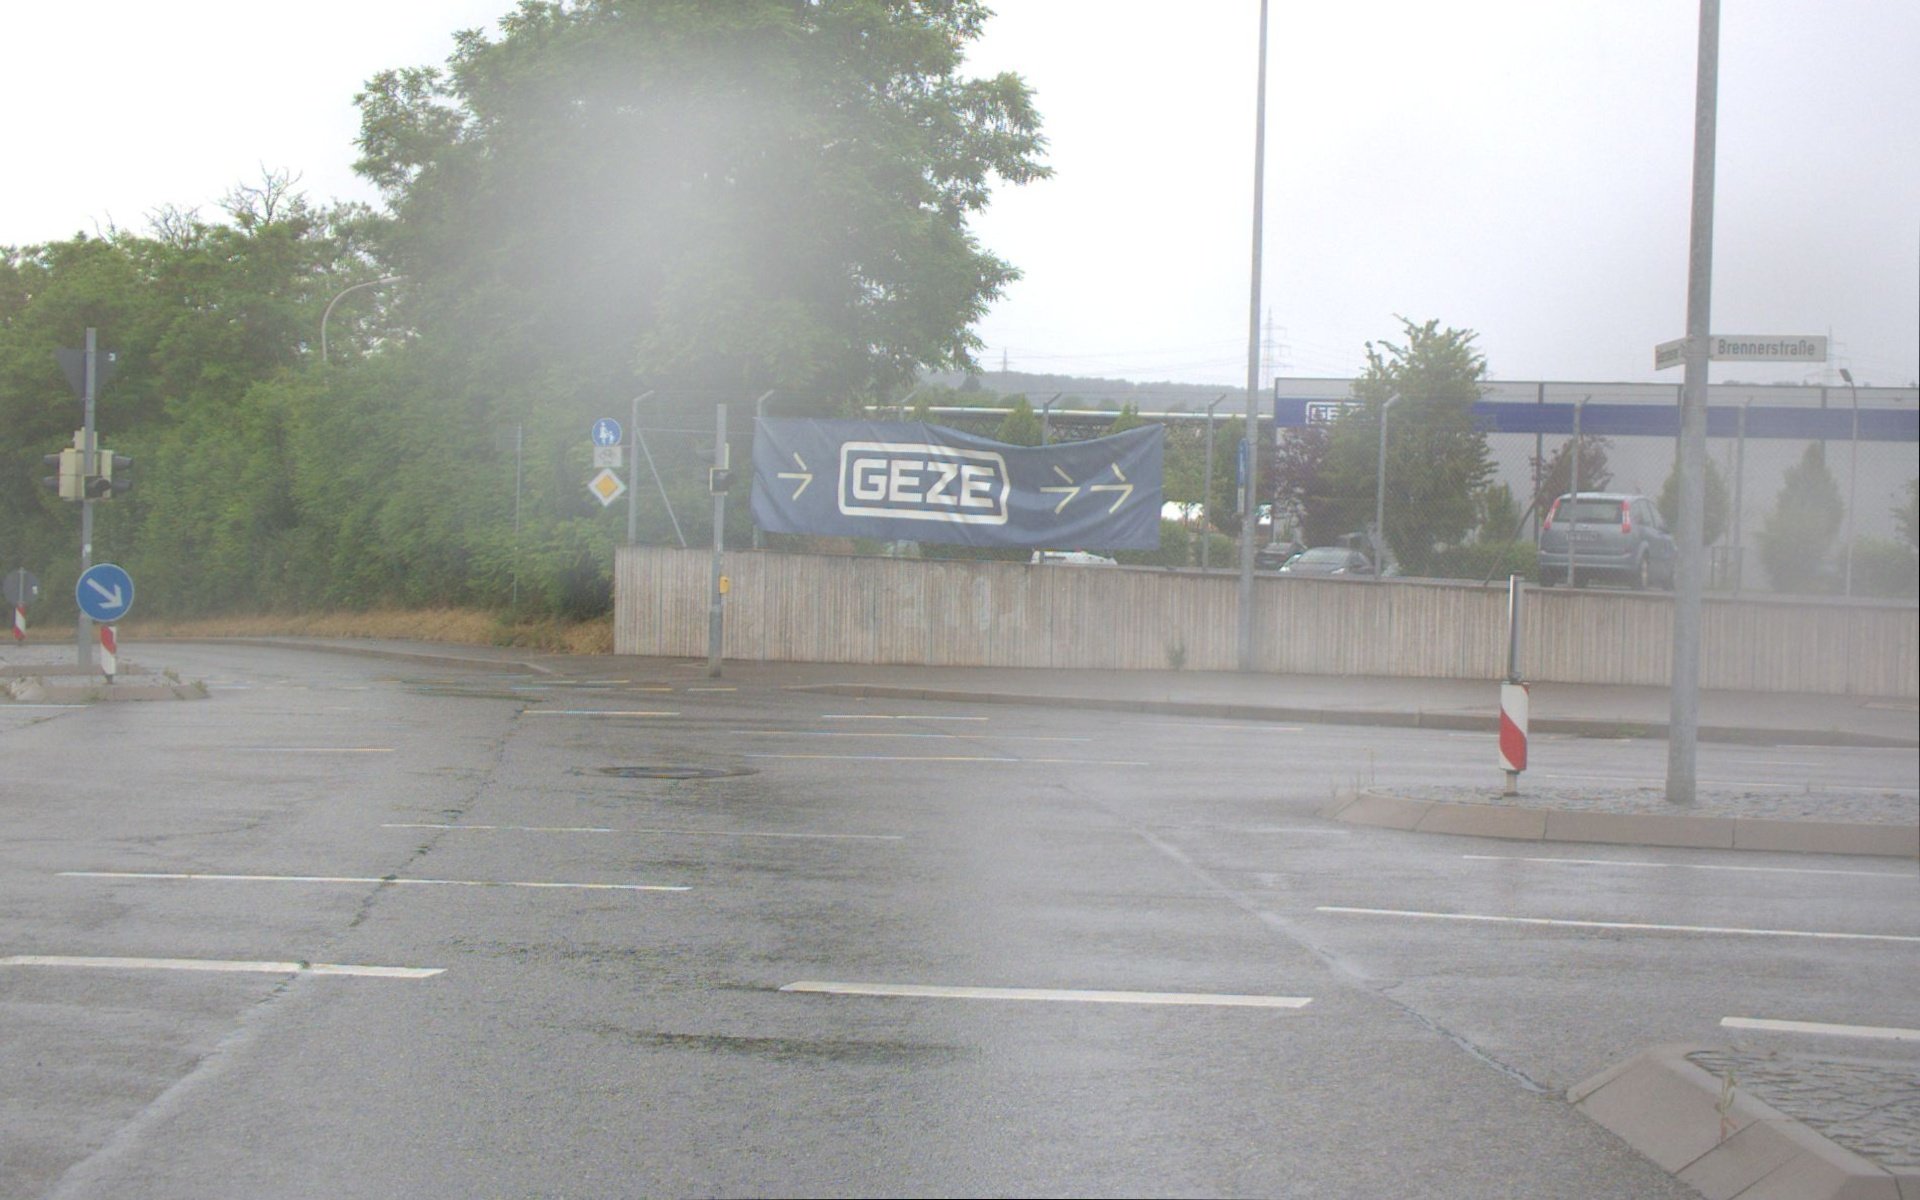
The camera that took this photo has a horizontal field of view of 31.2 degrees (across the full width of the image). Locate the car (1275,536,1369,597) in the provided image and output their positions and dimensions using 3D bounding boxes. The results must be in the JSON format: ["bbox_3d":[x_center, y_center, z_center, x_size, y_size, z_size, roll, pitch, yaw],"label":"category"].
[{"bbox_3d":[9.771,-0.891,92.580,1.668,1.601,3.527,1,1,21],"label":"car"}]

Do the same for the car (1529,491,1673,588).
[{"bbox_3d":[10.730,-0.997,57.415,1.744,1.548,3.527,1,1,21],"label":"car"}]

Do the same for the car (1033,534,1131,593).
[{"bbox_3d":[3.416,-1.011,95.882,1.668,1.601,3.527,1,1,21],"label":"car"}]
